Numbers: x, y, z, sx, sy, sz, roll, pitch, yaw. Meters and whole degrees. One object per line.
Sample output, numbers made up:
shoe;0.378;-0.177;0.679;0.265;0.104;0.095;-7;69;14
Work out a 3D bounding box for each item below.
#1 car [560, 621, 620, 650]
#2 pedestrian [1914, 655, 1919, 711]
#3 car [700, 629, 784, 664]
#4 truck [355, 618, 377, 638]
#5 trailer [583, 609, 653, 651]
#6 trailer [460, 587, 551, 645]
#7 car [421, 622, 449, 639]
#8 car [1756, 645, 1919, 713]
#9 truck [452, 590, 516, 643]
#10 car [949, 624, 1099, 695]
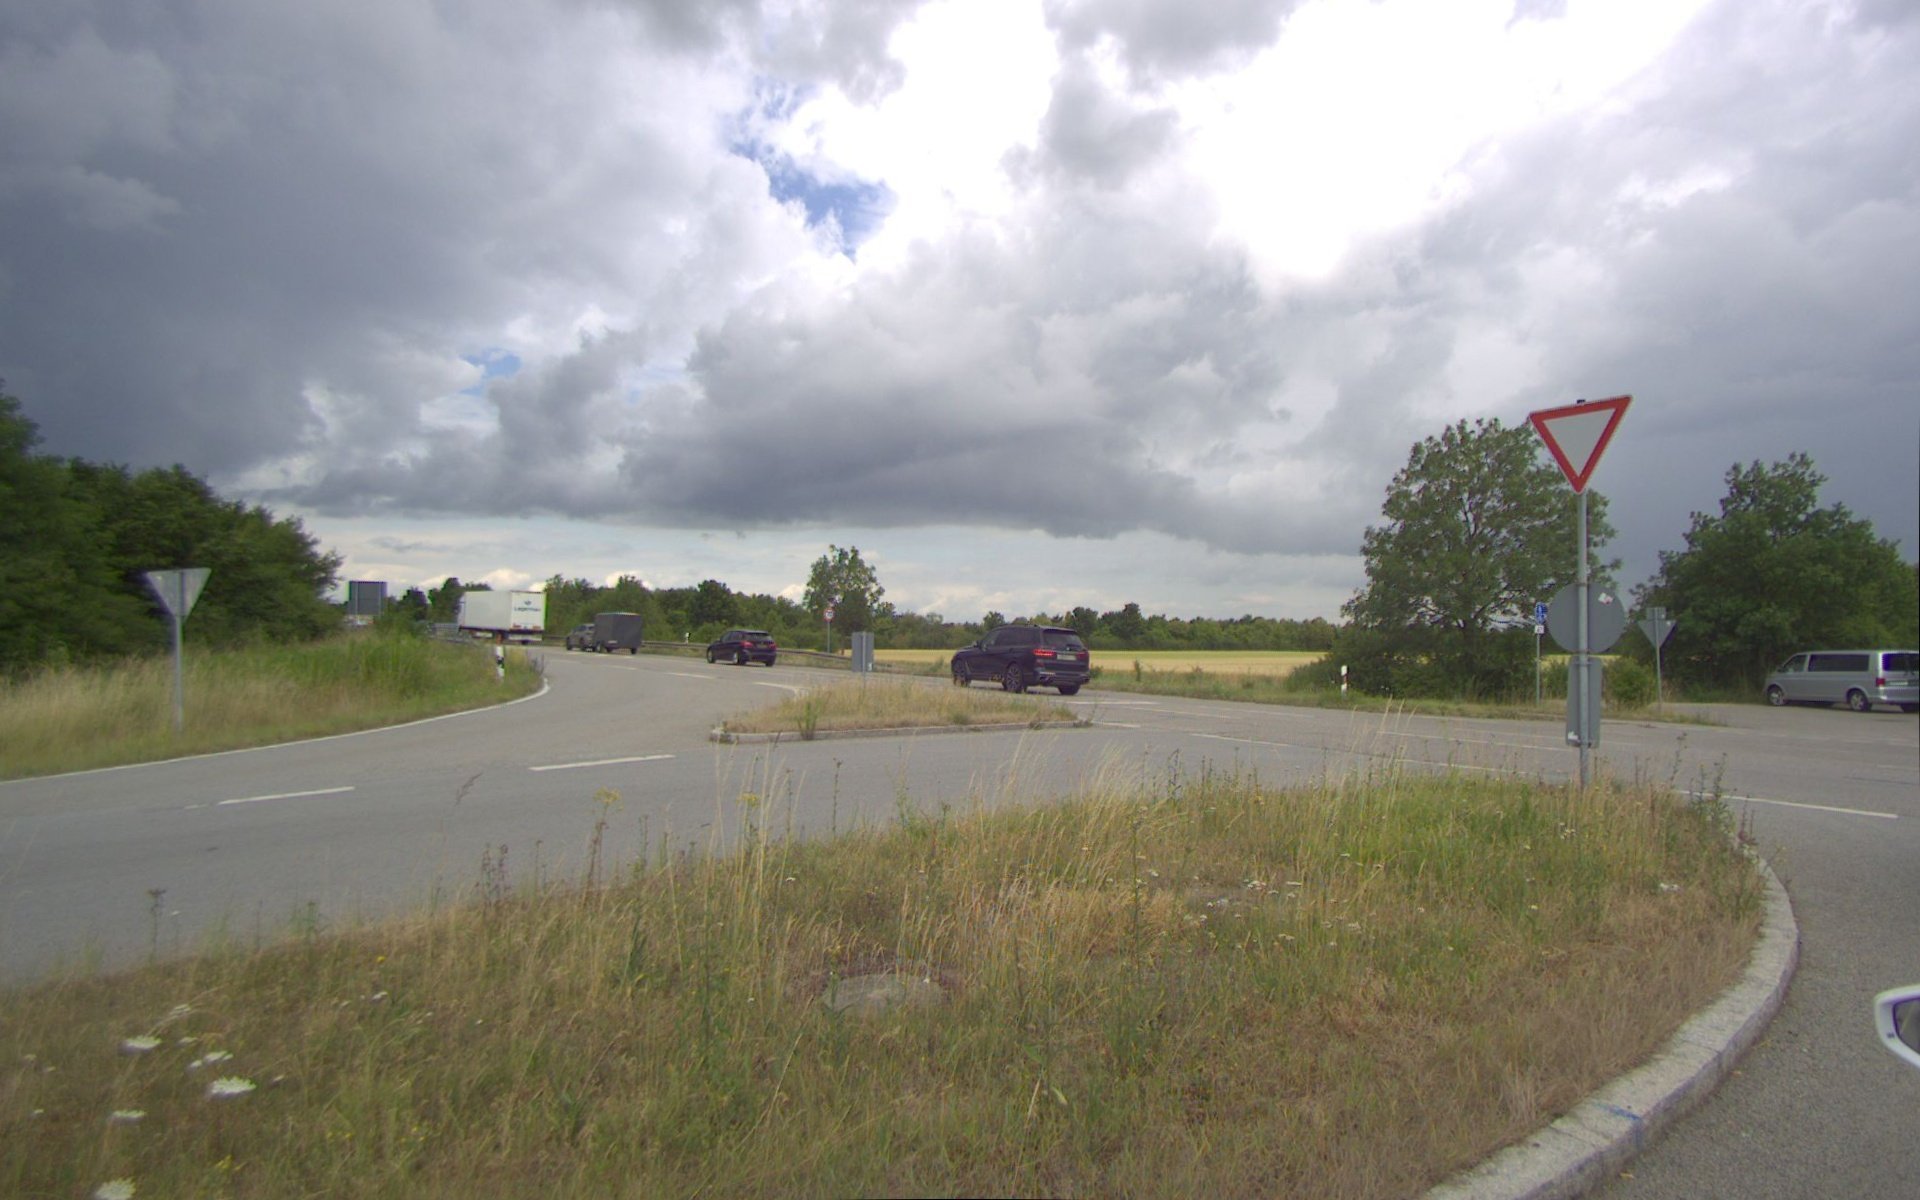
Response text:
car;-22.825;2.201;61.870;1.985;1.704;4.425;4;-4;-41
pedestrian;30.603;2.620;31.612;0.629;1.748;0.530;0;-2;0
car;-9.763;2.071;44.802;1.983;1.506;4.253;3;-4;-39
truck;-82.529;3.948;139.456;2.046;2.738;5.983;2;-3;-36
trailer;-19.971;1.777;58.506;2.398;2.322;4.345;4;-4;-40
trailer;-35.767;1.313;78.681;3.102;4.066;13.733;4;-3;-38
car;-55.436;3.231;105.996;1.981;1.622;4.181;1;-3;-36
car;29.934;2.584;33.870;2.296;2.040;4.916;0;-2;1
truck;-39.689;1.417;83.604;3.102;4.066;7.226;4;-3;-38
car;1.654;1.586;27.796;1.976;1.798;4.609;2;-2;-29
